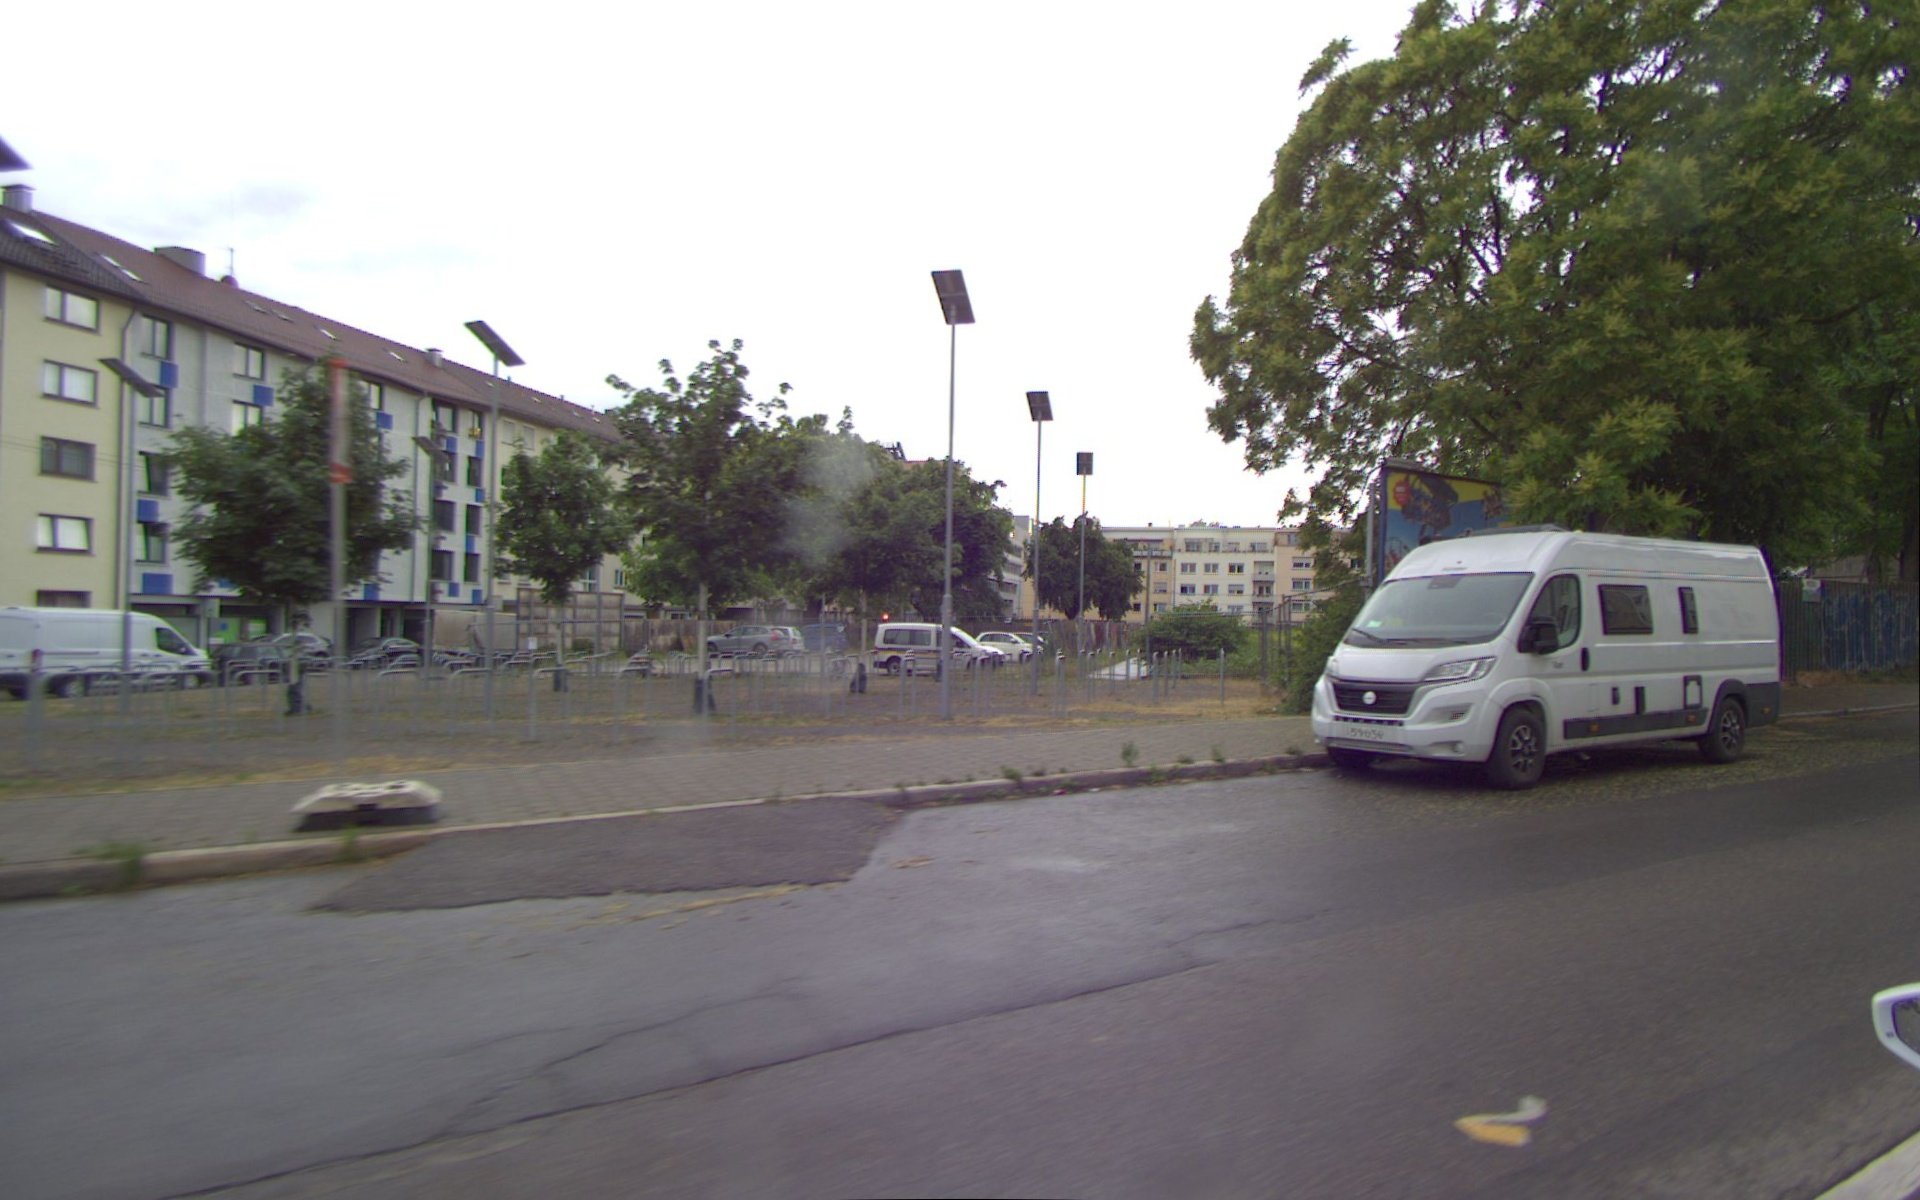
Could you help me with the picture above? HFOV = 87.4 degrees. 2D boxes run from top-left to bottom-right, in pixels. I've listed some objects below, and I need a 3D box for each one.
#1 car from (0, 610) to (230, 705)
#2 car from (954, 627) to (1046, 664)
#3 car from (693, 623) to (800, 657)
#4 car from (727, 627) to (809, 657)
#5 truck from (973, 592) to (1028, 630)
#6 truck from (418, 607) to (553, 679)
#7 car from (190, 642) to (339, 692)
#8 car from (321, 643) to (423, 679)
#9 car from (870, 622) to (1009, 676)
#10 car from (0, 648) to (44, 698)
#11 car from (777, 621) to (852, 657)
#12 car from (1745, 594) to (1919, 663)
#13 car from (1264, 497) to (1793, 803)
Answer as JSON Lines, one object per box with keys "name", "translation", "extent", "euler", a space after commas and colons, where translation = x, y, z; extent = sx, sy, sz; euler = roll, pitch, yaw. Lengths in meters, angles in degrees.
{"name": "car", "translation": [-24.922, 1.629, 29.183], "extent": [2.620, 2.445, 5.737], "euler": [-2, -2, 12]}
{"name": "car", "translation": [1.819, 2.032, 45.402], "extent": [3.919, 1.647, 1.801], "euler": [0, -1, 12]}
{"name": "car", "translation": [-10.812, 2.044, 50.967], "extent": [4.806, 1.646, 2.127], "euler": [-1, -3, 15]}
{"name": "car", "translation": [-10.223, 2.251, 53.535], "extent": [3.919, 1.530, 1.801], "euler": [-1, -3, 15]}
{"name": "truck", "translation": [6.293, 1.770, 152.589], "extent": [5.497, 5.211, 15.716], "euler": [-2, -2, 13]}
{"name": "truck", "translation": [-21.102, 1.915, 44.973], "extent": [2.724, 2.970, 5.294], "euler": [-2, -2, 13]}
{"name": "car", "translation": [-23.590, 2.246, 34.260], "extent": [1.764, 1.530, 4.003], "euler": [-2, -2, 14]}
{"name": "car", "translation": [-26.948, 2.776, 46.184], "extent": [1.764, 1.530, 4.003], "euler": [-2, -2, 13]}
{"name": "car", "translation": [-0.689, 1.712, 35.676], "extent": [4.598, 1.858, 2.001], "euler": [0, -1, 12]}
{"name": "car", "translation": [-30.913, 2.290, 30.717], "extent": [1.764, 1.530, 4.003], "euler": [-2, -2, 13]}
{"name": "car", "translation": [-8.516, 2.284, 58.868], "extent": [3.919, 2.079, 1.801], "euler": [-1, -3, 15]}
{"name": "car", "translation": [28.174, 0.880, 31.279], "extent": [2.122, 2.036, 5.472], "euler": [0, -2, -31]}
{"name": "car", "translation": [6.522, 0.485, 11.216], "extent": [6.462, 2.613, 2.219], "euler": [0, -2, -31]}
